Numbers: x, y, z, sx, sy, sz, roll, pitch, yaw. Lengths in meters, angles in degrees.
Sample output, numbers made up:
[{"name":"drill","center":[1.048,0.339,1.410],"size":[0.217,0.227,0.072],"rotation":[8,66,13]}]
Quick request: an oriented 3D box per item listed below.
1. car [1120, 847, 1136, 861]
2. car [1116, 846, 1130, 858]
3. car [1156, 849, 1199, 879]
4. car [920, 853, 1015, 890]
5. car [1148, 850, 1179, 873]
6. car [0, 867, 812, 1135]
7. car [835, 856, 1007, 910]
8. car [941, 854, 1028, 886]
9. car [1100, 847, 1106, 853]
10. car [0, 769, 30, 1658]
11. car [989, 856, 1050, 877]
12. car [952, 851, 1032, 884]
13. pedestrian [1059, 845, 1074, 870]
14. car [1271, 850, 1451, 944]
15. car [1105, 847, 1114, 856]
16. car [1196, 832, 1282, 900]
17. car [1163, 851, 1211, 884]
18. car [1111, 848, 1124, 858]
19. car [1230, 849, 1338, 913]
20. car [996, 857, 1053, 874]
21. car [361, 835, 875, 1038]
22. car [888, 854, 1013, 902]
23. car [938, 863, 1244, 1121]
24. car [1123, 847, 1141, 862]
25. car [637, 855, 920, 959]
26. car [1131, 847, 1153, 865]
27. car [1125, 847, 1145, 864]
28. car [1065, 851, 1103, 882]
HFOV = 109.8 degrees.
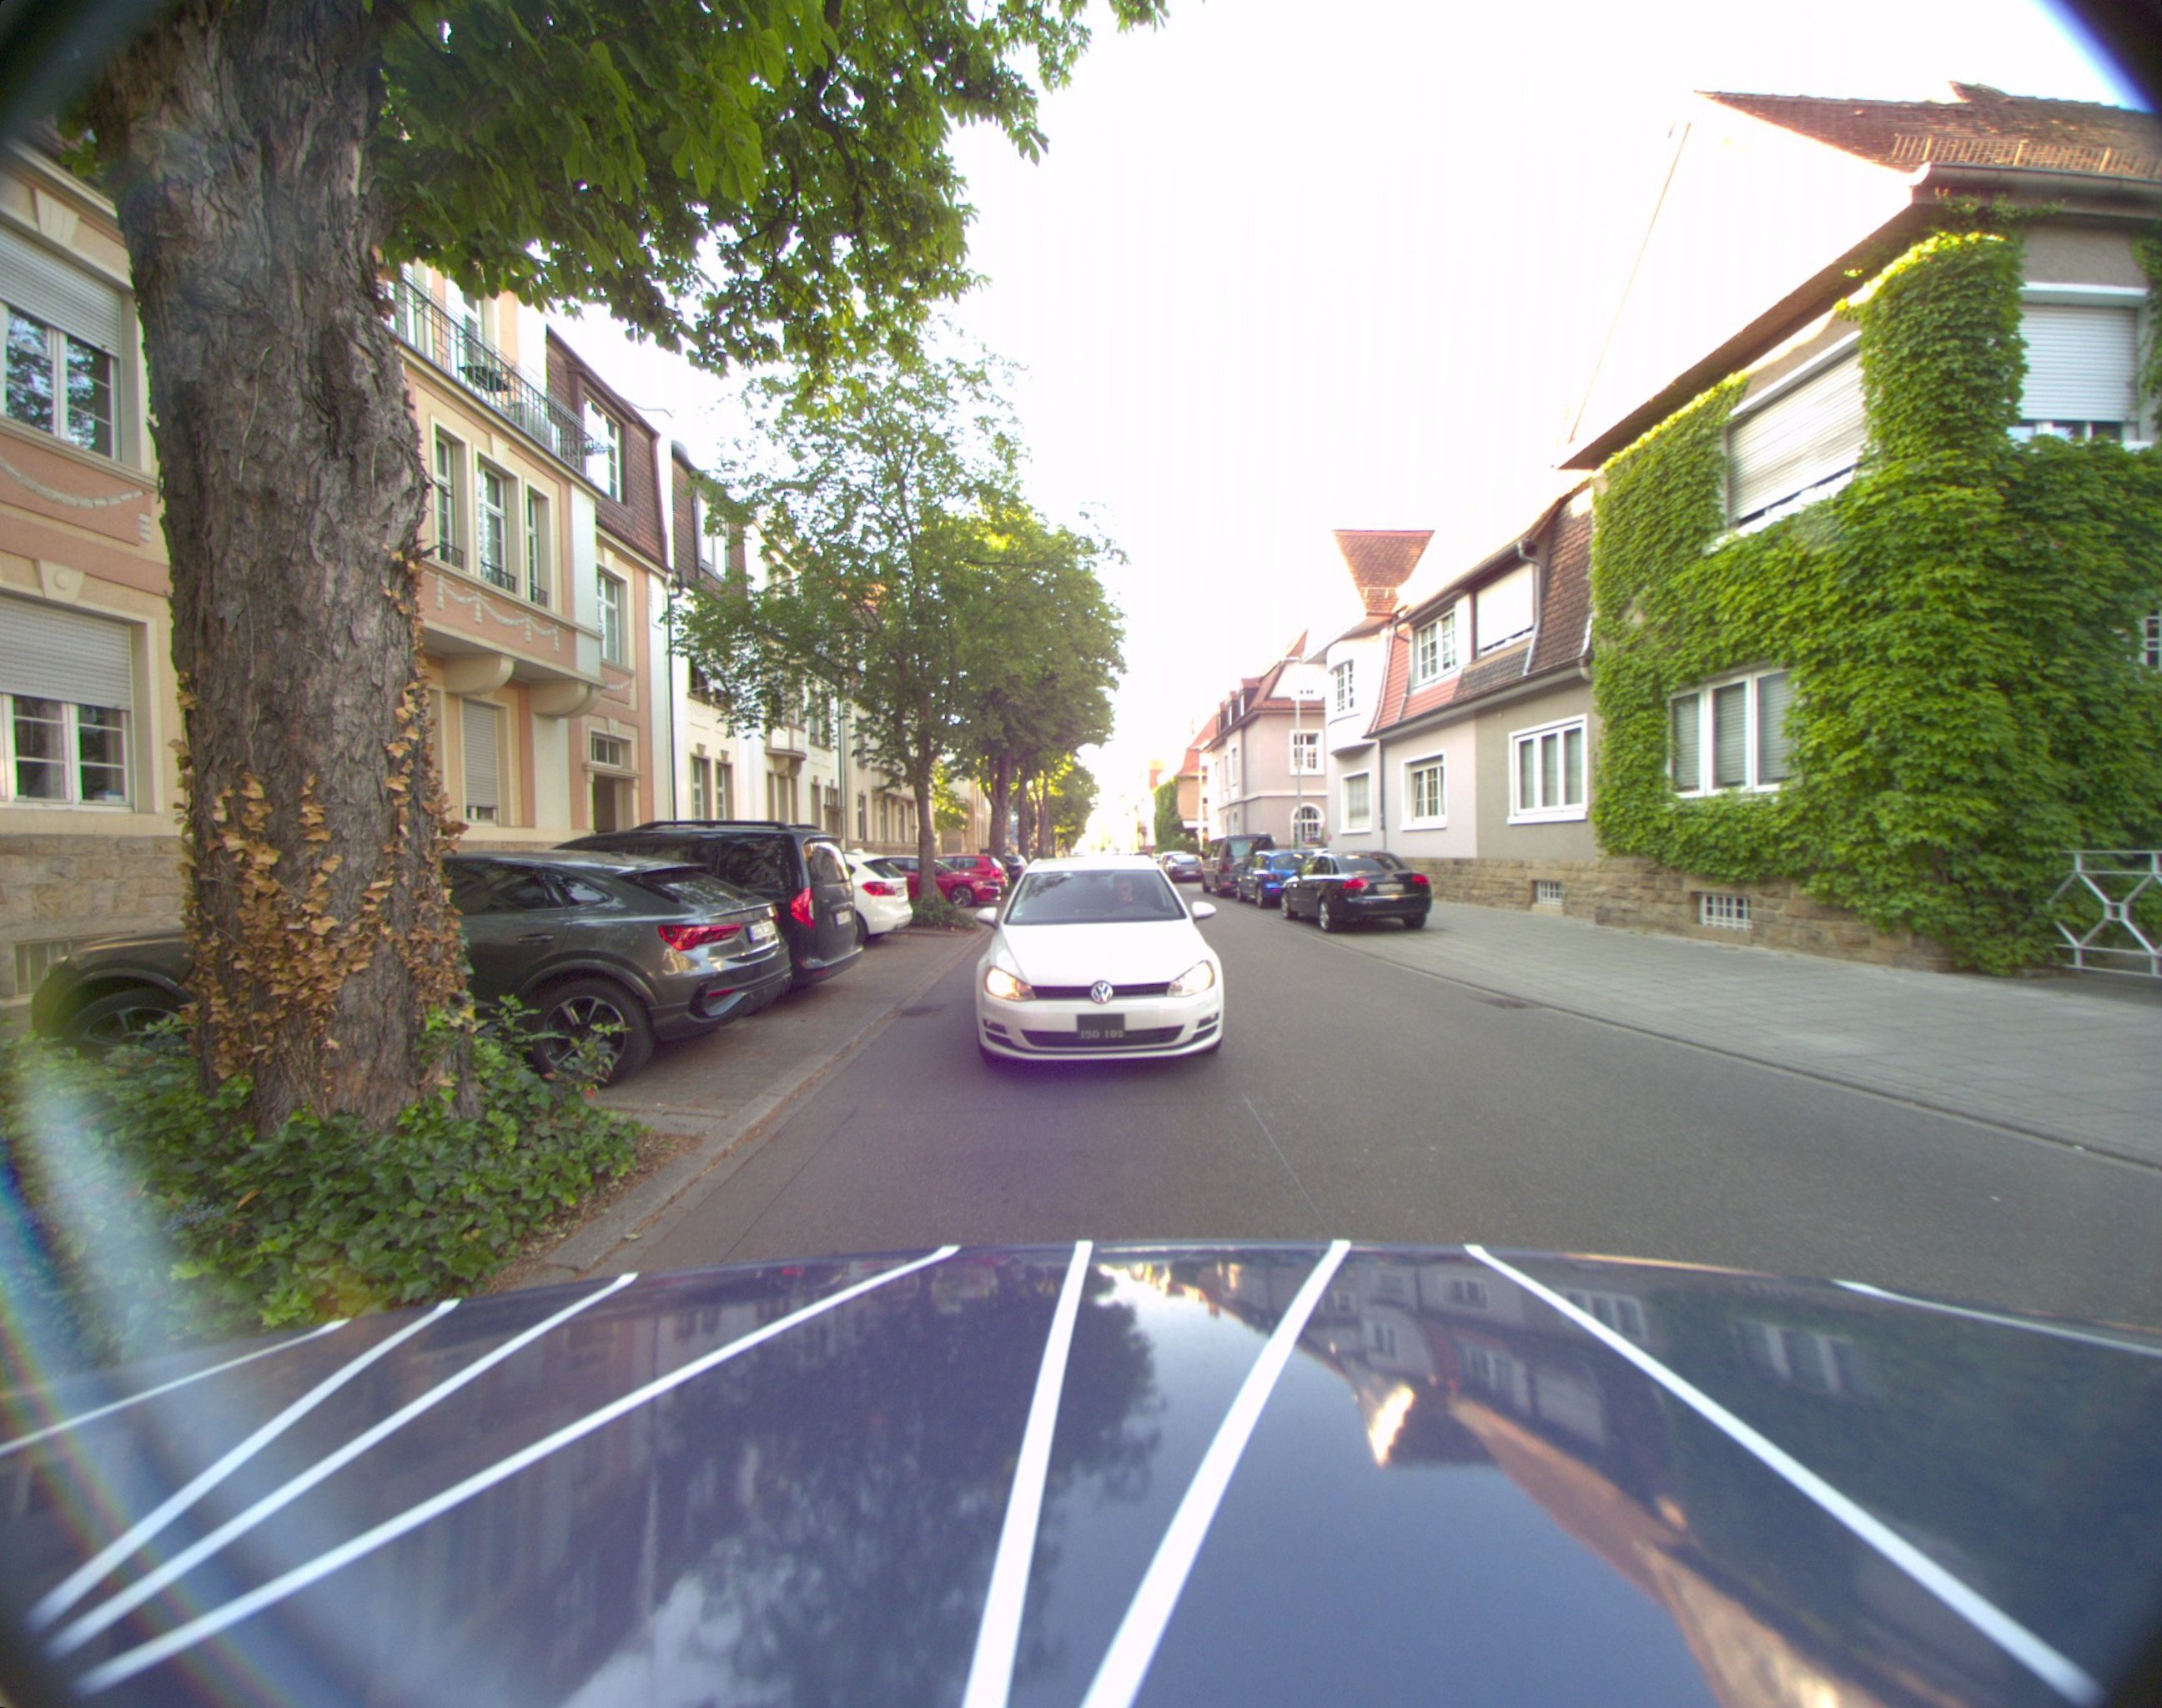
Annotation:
[{"name":"car","center":[5.569,-0.045,91.003],"size":[1.699,1.520,3.677],"rotation":[-3,1,2]},{"name":"car","center":[5.551,-0.243,100.729],"size":[1.699,1.520,3.677],"rotation":[-3,1,2]},{"name":"car","center":[5.288,0.507,42.138],"size":[1.932,1.458,4.062],"rotation":[-3,1,2]},{"name":"car","center":[-4.673,0.708,31.704],"size":[3.680,1.457,1.576],"rotation":[0,1,2]},{"name":"car","center":[5.444,0.474,50.377],"size":[1.662,1.354,3.677],"rotation":[-3,1,2]},{"name":"car","center":[-4.534,0.886,5.501],"size":[4.522,1.514,1.844],"rotation":[0,1,-4]},{"name":"car","center":[-4.529,0.797,21.932],"size":[4.530,1.443,1.867],"rotation":[0,1,3]},{"name":"car","center":[-4.309,0.712,34.320],"size":[3.680,1.390,1.576],"rotation":[0,1,2]},{"name":"car","center":[5.850,-0.990,202.663],"size":[1.699,1.520,3.677],"rotation":[-3,1,2]},{"name":"car","center":[-4.588,0.768,0.515],"size":[4.763,1.864,1.896],"rotation":[0,1,-4]},{"name":"car","center":[-3.560,0.728,44.430],"size":[3.399,1.143,1.542],"rotation":[0,1,2]},{"name":"car","center":[-4.276,0.621,36.833],"size":[3.680,1.548,1.576],"rotation":[0,1,2]},{"name":"pedestrian","center":[-1.172,0.275,61.257],"size":[1.119,1.927,1.097],"rotation":[-3,1,-1]},{"name":"car","center":[5.145,0.700,14.665],"size":[1.806,1.438,4.428],"rotation":[-3,1,0]},{"name":"car","center":[5.579,-0.473,149.114],"size":[1.699,1.520,3.677],"rotation":[-3,1,2]},{"name":"car","center":[5.150,0.356,25.348],"size":[1.842,1.964,4.612],"rotation":[-3,1,0]},{"name":"car","center":[5.066,0.597,36.661],"size":[1.932,1.376,4.063],"rotation":[-3,1,4]},{"name":"car","center":[5.554,-0.160,115.856],"size":[1.699,1.520,3.677],"rotation":[-3,1,2]},{"name":"car","center":[5.286,0.648,20.337],"size":[1.768,1.438,4.062],"rotation":[-3,1,0]},{"name":"car","center":[-3.511,0.722,47.636],"size":[3.399,1.057,1.542],"rotation":[0,1,2]},{"name":"car","center":[-4.431,0.736,7.825],"size":[4.121,1.827,1.844],"rotation":[0,1,-2]},{"name":"car","center":[-4.134,0.749,24.460],"size":[3.680,1.473,1.659],"rotation":[0,1,3]},{"name":"car","center":[0.098,0.873,6.690],"size":[1.819,1.454,4.072],"rotation":[-2,0,1]},{"name":"car","center":[5.441,0.062,80.757],"size":[1.699,1.520,3.677],"rotation":[-3,1,2]},{"name":"car","center":[-4.825,0.814,12.526],"size":[3.950,1.568,1.719],"rotation":[0,1,0]},{"name":"car","center":[5.426,0.153,68.000],"size":[1.699,1.558,3.677],"rotation":[-3,1,2]},{"name":"car","center":[5.340,0.120,75.265],"size":[1.699,1.520,3.677],"rotation":[-3,1,2]},{"name":"car","center":[0.178,0.600,38.658],"size":[1.819,1.454,4.072],"rotation":[-2,0,1]}]
